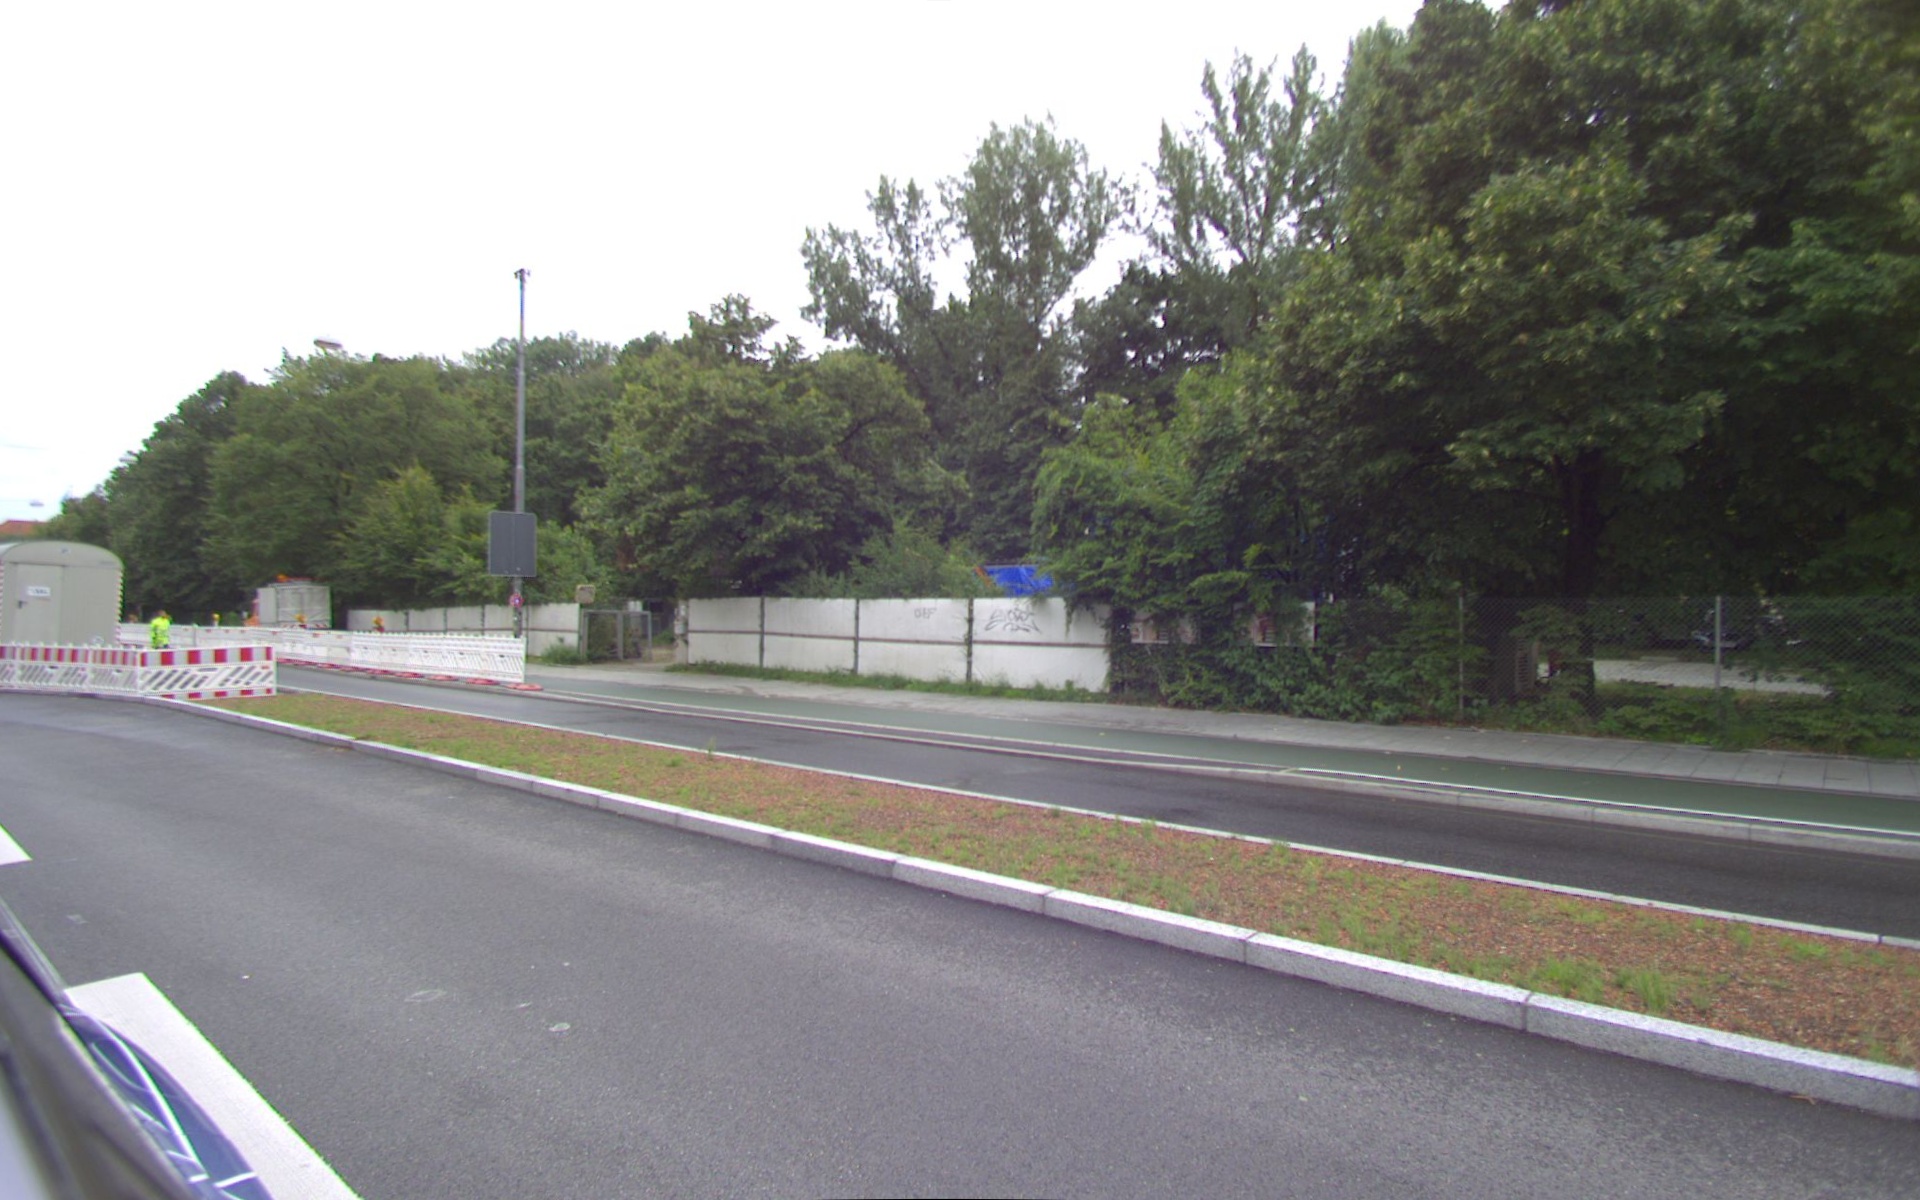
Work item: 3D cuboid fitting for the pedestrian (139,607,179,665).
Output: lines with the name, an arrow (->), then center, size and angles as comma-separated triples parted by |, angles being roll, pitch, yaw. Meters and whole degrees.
pedestrian -> -27.465, 1.217, 34.694 | 0.874, 1.956, 0.879 | -1, -2, 38

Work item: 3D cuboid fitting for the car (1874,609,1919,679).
car -> 22.695, 0.960, 22.057 | 3.996, 1.556, 1.753 | -1, -2, 39

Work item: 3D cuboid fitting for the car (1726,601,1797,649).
car -> 30.539, 0.944, 38.618 | 1.997, 1.732, 3.949 | -1, -2, 38

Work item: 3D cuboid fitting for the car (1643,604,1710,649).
car -> 29.004, 1.072, 40.913 | 1.997, 1.732, 3.949 | -1, -2, 38

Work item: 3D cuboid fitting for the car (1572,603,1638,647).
car -> 26.880, 1.044, 42.159 | 1.997, 1.732, 3.950 | -1, -2, 37
